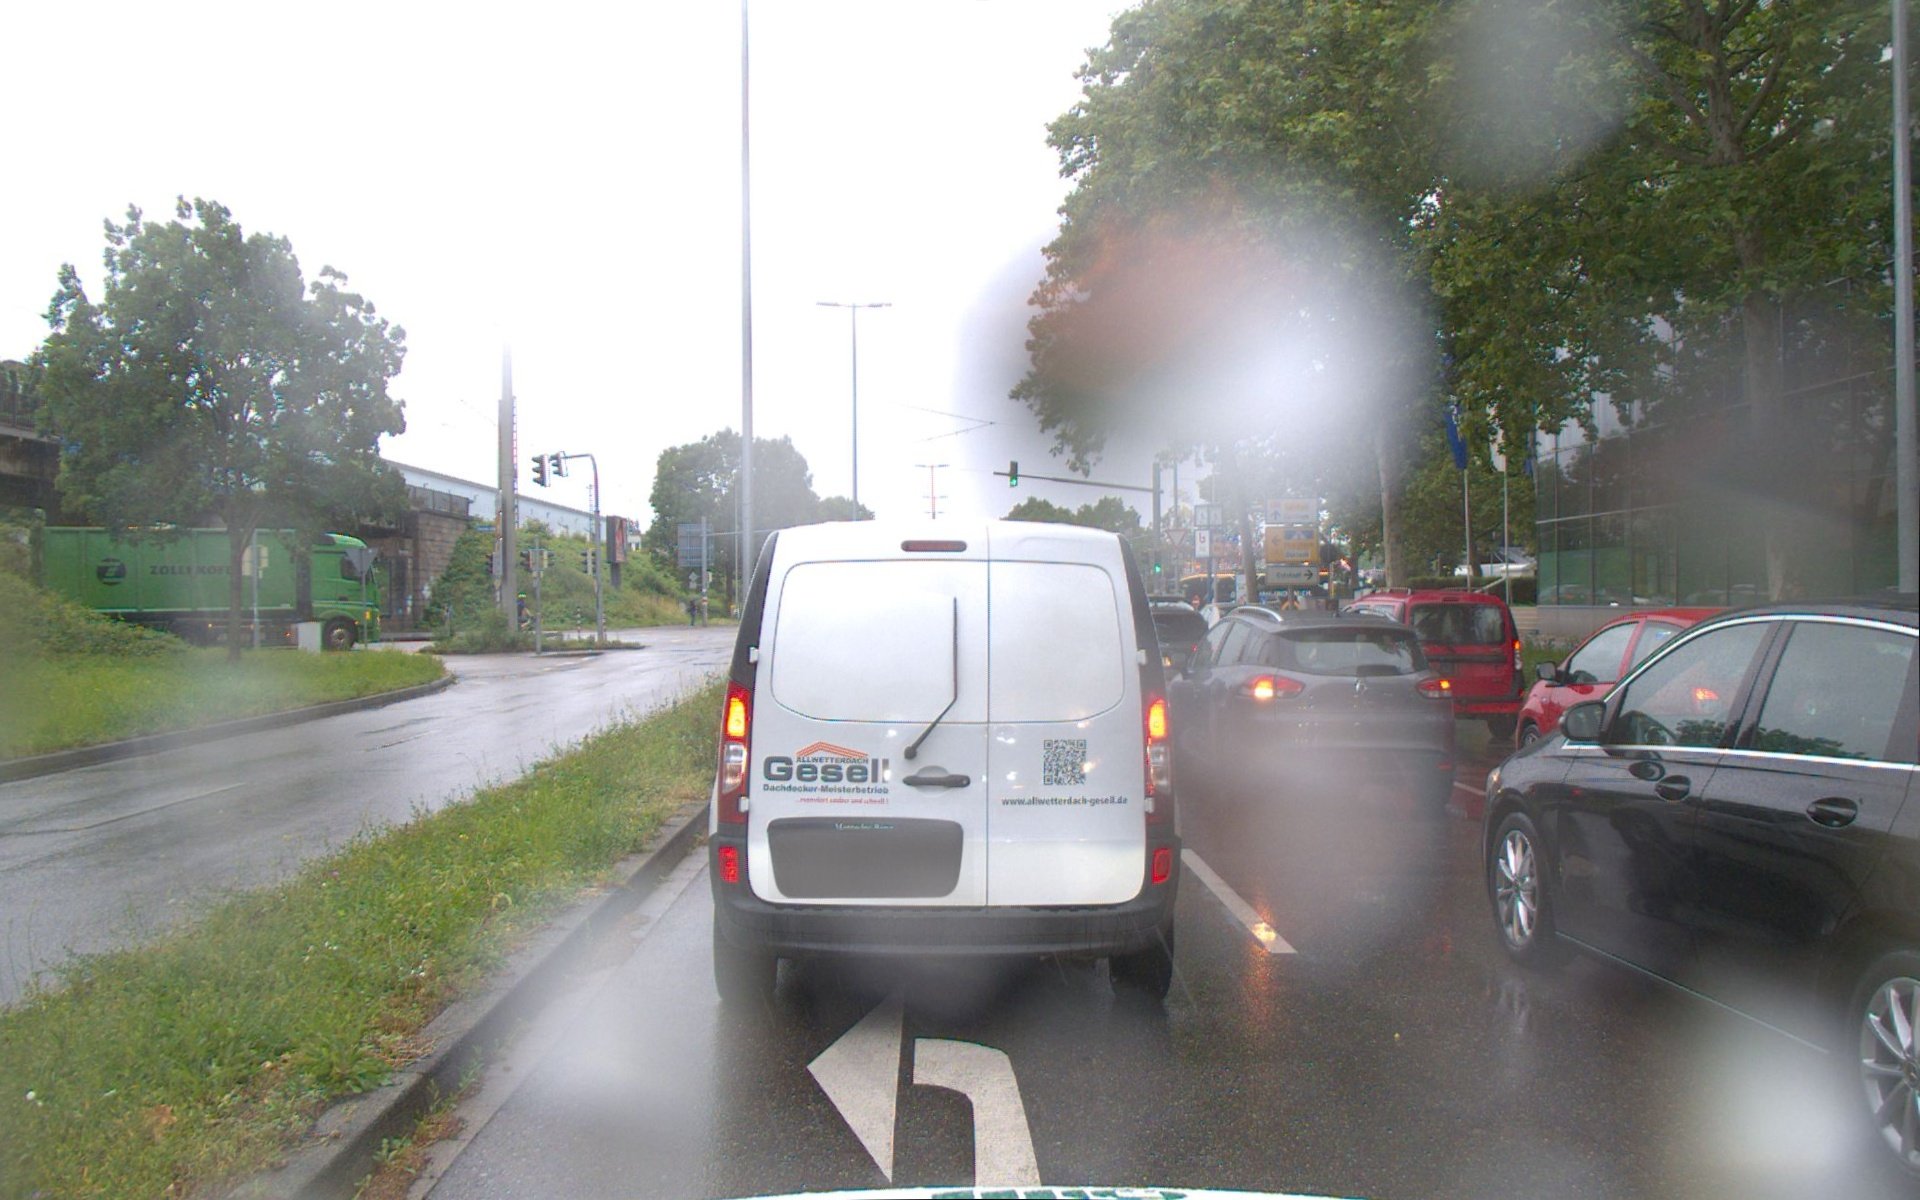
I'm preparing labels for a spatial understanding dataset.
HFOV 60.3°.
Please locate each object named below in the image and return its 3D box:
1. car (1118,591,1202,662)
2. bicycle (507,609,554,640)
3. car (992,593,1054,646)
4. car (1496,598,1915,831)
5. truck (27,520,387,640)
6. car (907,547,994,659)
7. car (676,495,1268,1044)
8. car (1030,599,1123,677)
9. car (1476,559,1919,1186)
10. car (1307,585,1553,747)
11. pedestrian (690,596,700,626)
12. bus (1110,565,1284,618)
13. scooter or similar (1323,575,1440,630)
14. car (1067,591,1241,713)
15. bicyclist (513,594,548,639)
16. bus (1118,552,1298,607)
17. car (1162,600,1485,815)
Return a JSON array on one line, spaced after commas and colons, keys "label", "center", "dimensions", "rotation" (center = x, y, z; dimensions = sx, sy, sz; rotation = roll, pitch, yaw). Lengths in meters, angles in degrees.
[{"label": "car", "center": [5.156, 0.644, 43.055], "dimensions": [1.673, 1.758, 3.842], "rotation": [0, 0, -1]}, {"label": "bicycle", "center": [-14.372, 0.801, 55.338], "dimensions": [1.027, 0.968, 2.866], "rotation": [-1, 1, -25]}, {"label": "car", "center": [2.010, 0.621, 53.838], "dimensions": [1.816, 1.678, 3.842], "rotation": [0, 0, -1]}, {"label": "car", "center": [5.398, 0.748, 12.440], "dimensions": [1.537, 1.488, 3.388], "rotation": [0, 0, -2]}, {"label": "truck", "center": [-23.122, -0.607, 51.307], "dimensions": [9.957, 3.430, 2.316], "rotation": [0, 0, -37]}, {"label": "car", "center": [-0.229, 0.043, 36.437], "dimensions": [1.816, 2.336, 3.842], "rotation": [0, 0, -1]}, {"label": "car", "center": [0.011, 0.539, 7.755], "dimensions": [1.953, 1.807, 4.584], "rotation": [0, 0, -1]}, {"label": "car", "center": [2.630, 0.837, 38.100], "dimensions": [1.816, 1.678, 3.842], "rotation": [0, 0, -1]}, {"label": "car", "center": [3.245, 0.688, 5.452], "dimensions": [1.712, 1.582, 4.089], "rotation": [0, 0, -2]}, {"label": "car", "center": [5.508, 0.733, 19.939], "dimensions": [1.676, 1.724, 4.271], "rotation": [1, -1, -1]}, {"label": "pedestrian", "center": [-15.359, 0.619, 95.865], "dimensions": [0.532, 1.746, 0.563], "rotation": [1, -1, -5]}, {"label": "bus", "center": [16.476, -0.594, 115.112], "dimensions": [11.735, 3.483, 2.481], "rotation": [-1, 1, -4]}, {"label": "scooter or similar", "center": [19.668, 0.094, 77.365], "dimensions": [1.878, 2.489, 5.239], "rotation": [0, 0, -41]}, {"label": "car", "center": [2.490, 0.622, 22.078], "dimensions": [1.816, 1.486, 3.842], "rotation": [0, 0, -1]}, {"label": "bicyclist", "center": [-14.355, 0.540, 55.284], "dimensions": [1.028, 1.475, 0.723], "rotation": [-1, 1, -26]}, {"label": "bus", "center": [16.594, -1.403, 111.156], "dimensions": [11.727, 3.483, 2.315], "rotation": [-1, 1, -1]}, {"label": "car", "center": [2.746, 0.747, 13.337], "dimensions": [1.649, 1.433, 3.842], "rotation": [1, 0, -2]}]
